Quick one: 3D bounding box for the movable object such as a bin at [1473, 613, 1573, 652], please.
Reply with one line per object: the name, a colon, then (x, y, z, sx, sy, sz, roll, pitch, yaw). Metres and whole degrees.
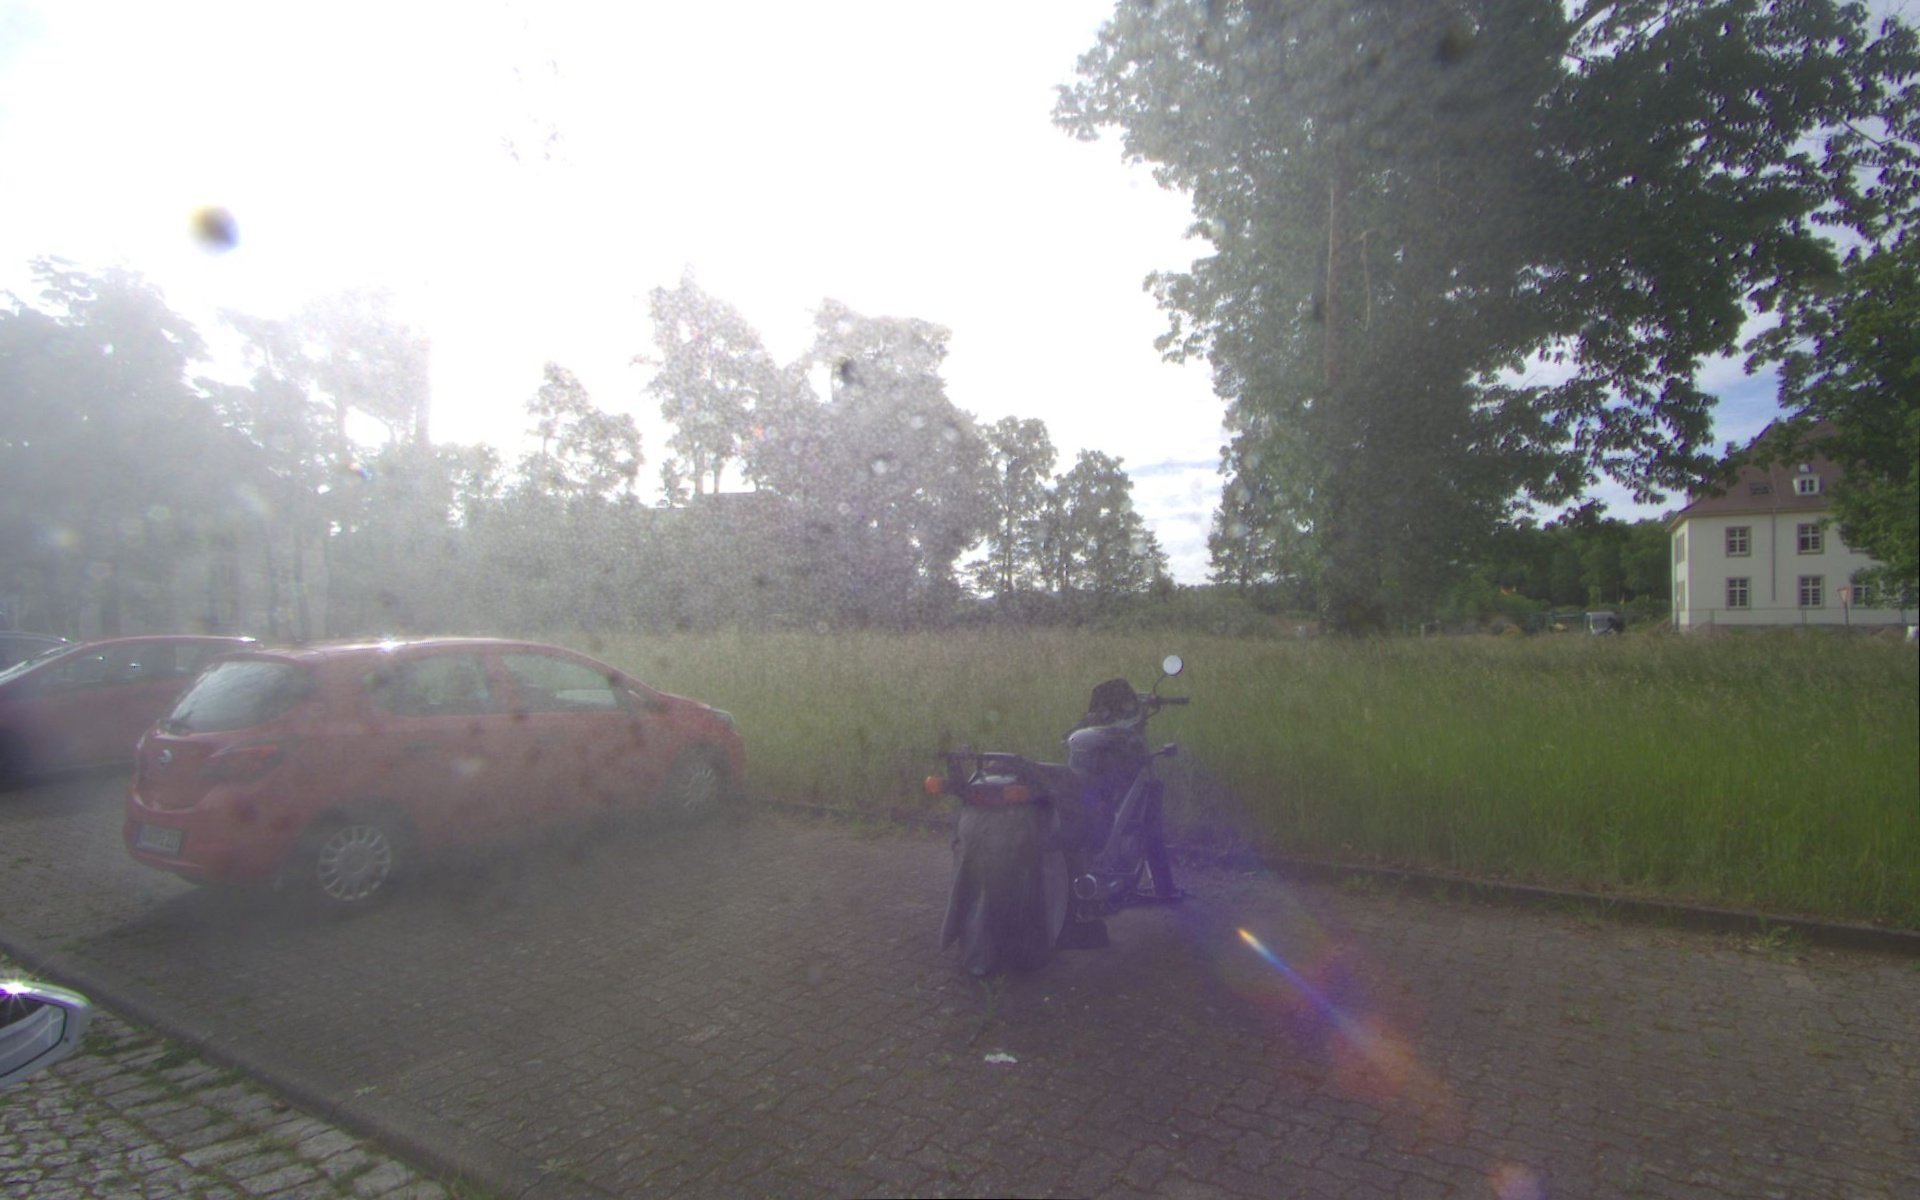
movable object such as a bin: (40.288, 2.362, 71.825, 2.150, 2.688, 5.934, 1, -2, -37)

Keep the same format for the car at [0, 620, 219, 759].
car: (-11.824, 1.080, 12.294, 1.725, 1.573, 4.023, -1, 0, 30)

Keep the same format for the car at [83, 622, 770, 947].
car: (-3.285, 0.943, 6.912, 1.754, 1.479, 3.818, -1, 0, 32)

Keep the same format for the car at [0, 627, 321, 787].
car: (-9.513, 1.092, 11.046, 1.726, 1.479, 3.784, -1, 0, 32)

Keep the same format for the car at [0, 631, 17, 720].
car: (-17.271, 1.265, 15.438, 1.591, 1.468, 3.667, -1, 0, 30)

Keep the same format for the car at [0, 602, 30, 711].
car: (-19.292, 1.064, 17.029, 1.903, 1.980, 4.747, -1, 0, 30)

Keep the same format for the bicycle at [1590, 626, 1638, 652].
bicycle: (31.440, 1.878, 48.168, 1.904, 1.244, 0.722, -1, -2, 31)

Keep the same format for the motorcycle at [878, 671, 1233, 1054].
motorcycle: (0.596, 1.010, 4.730, 0.783, 1.201, 2.324, -1, -1, 29)

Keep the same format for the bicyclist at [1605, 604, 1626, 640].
bicyclist: (31.528, 1.051, 48.181, 0.761, 1.717, 0.724, -1, -1, 30)
